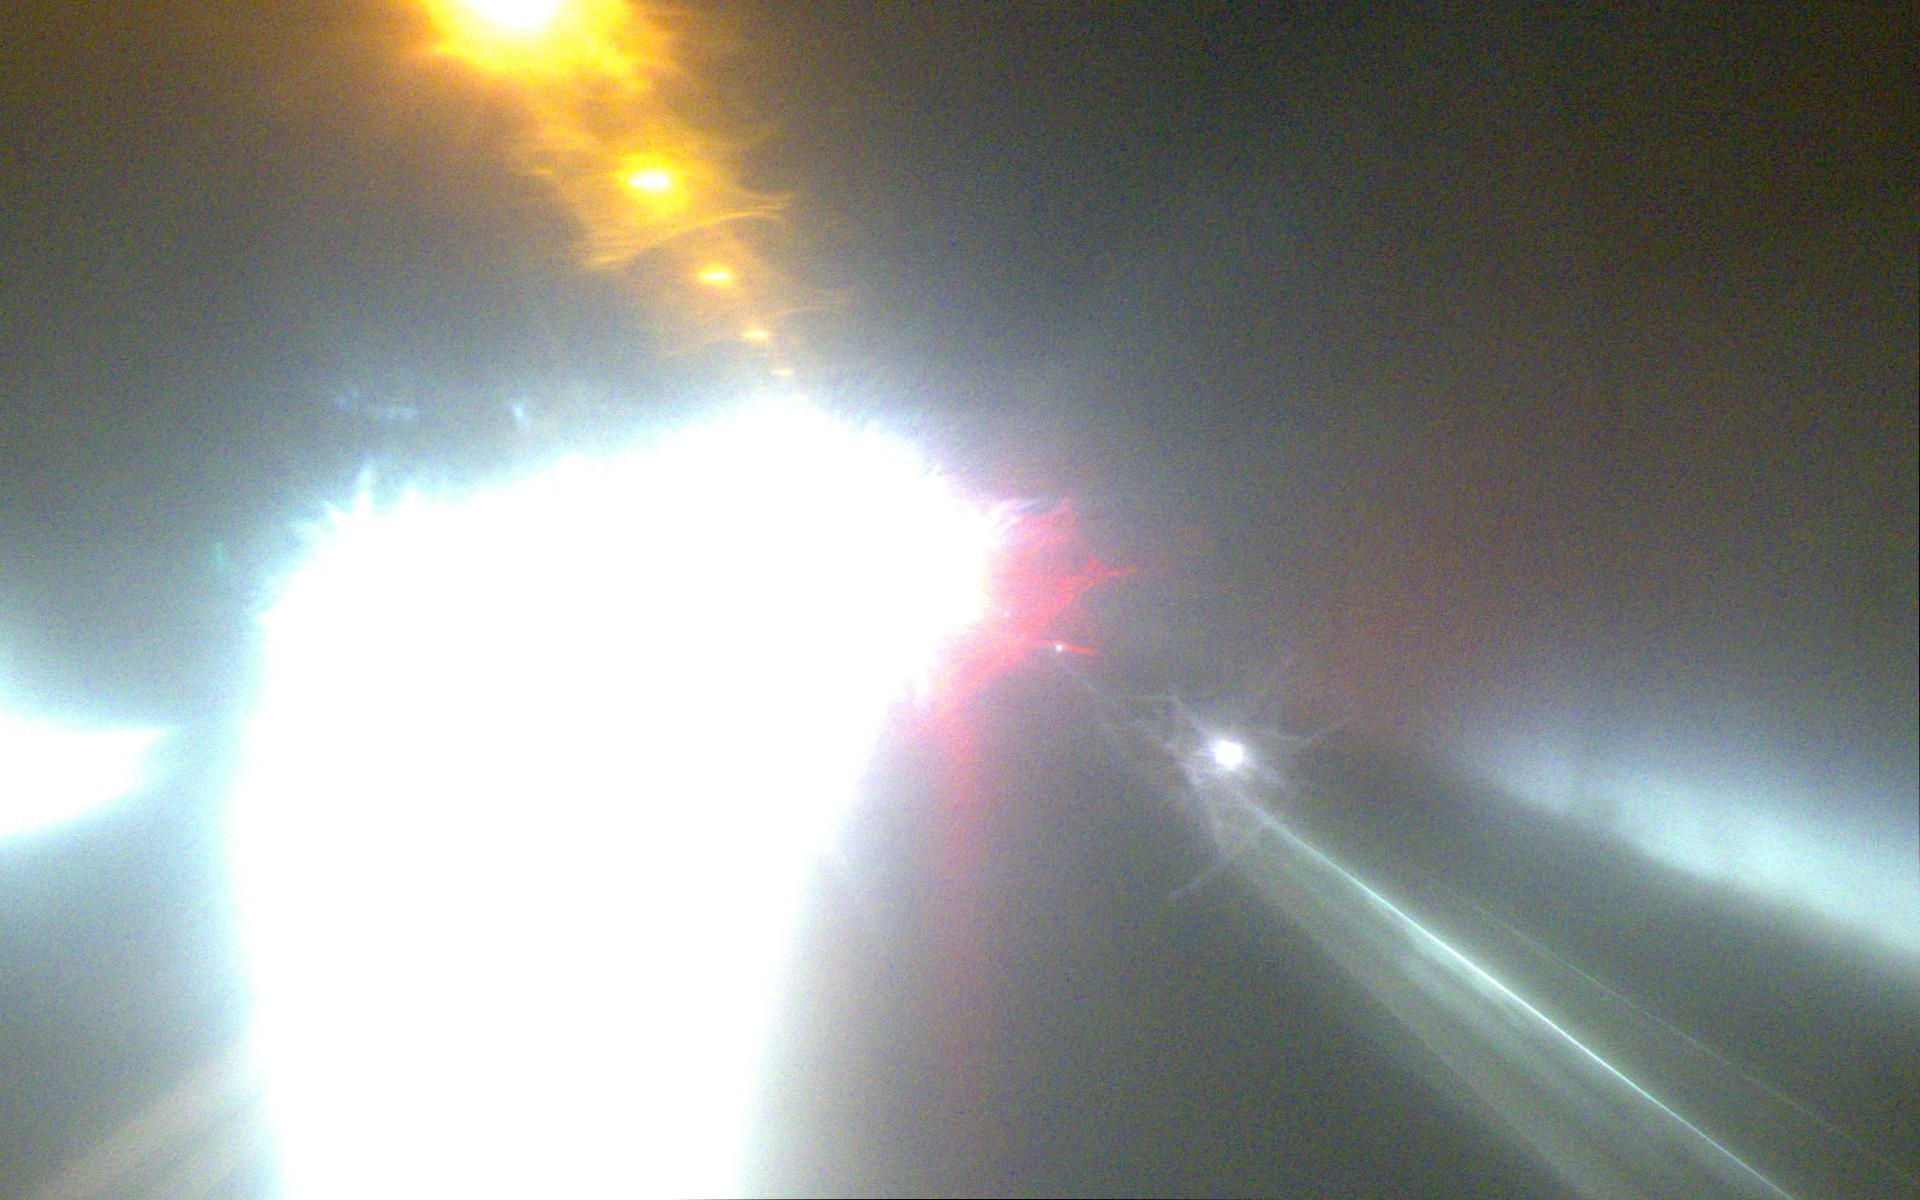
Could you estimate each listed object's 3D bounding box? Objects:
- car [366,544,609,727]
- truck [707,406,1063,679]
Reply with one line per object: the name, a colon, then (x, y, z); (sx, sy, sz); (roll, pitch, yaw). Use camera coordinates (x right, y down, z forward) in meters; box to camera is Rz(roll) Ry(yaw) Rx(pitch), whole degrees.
car: (-4.275, 0.285, 31.600); (1.748, 1.579, 4.000); (0, 1, -1)
truck: (-0.807, -0.656, 39.173); (3.535, 2.684, 8.956); (-1, 1, -1)
